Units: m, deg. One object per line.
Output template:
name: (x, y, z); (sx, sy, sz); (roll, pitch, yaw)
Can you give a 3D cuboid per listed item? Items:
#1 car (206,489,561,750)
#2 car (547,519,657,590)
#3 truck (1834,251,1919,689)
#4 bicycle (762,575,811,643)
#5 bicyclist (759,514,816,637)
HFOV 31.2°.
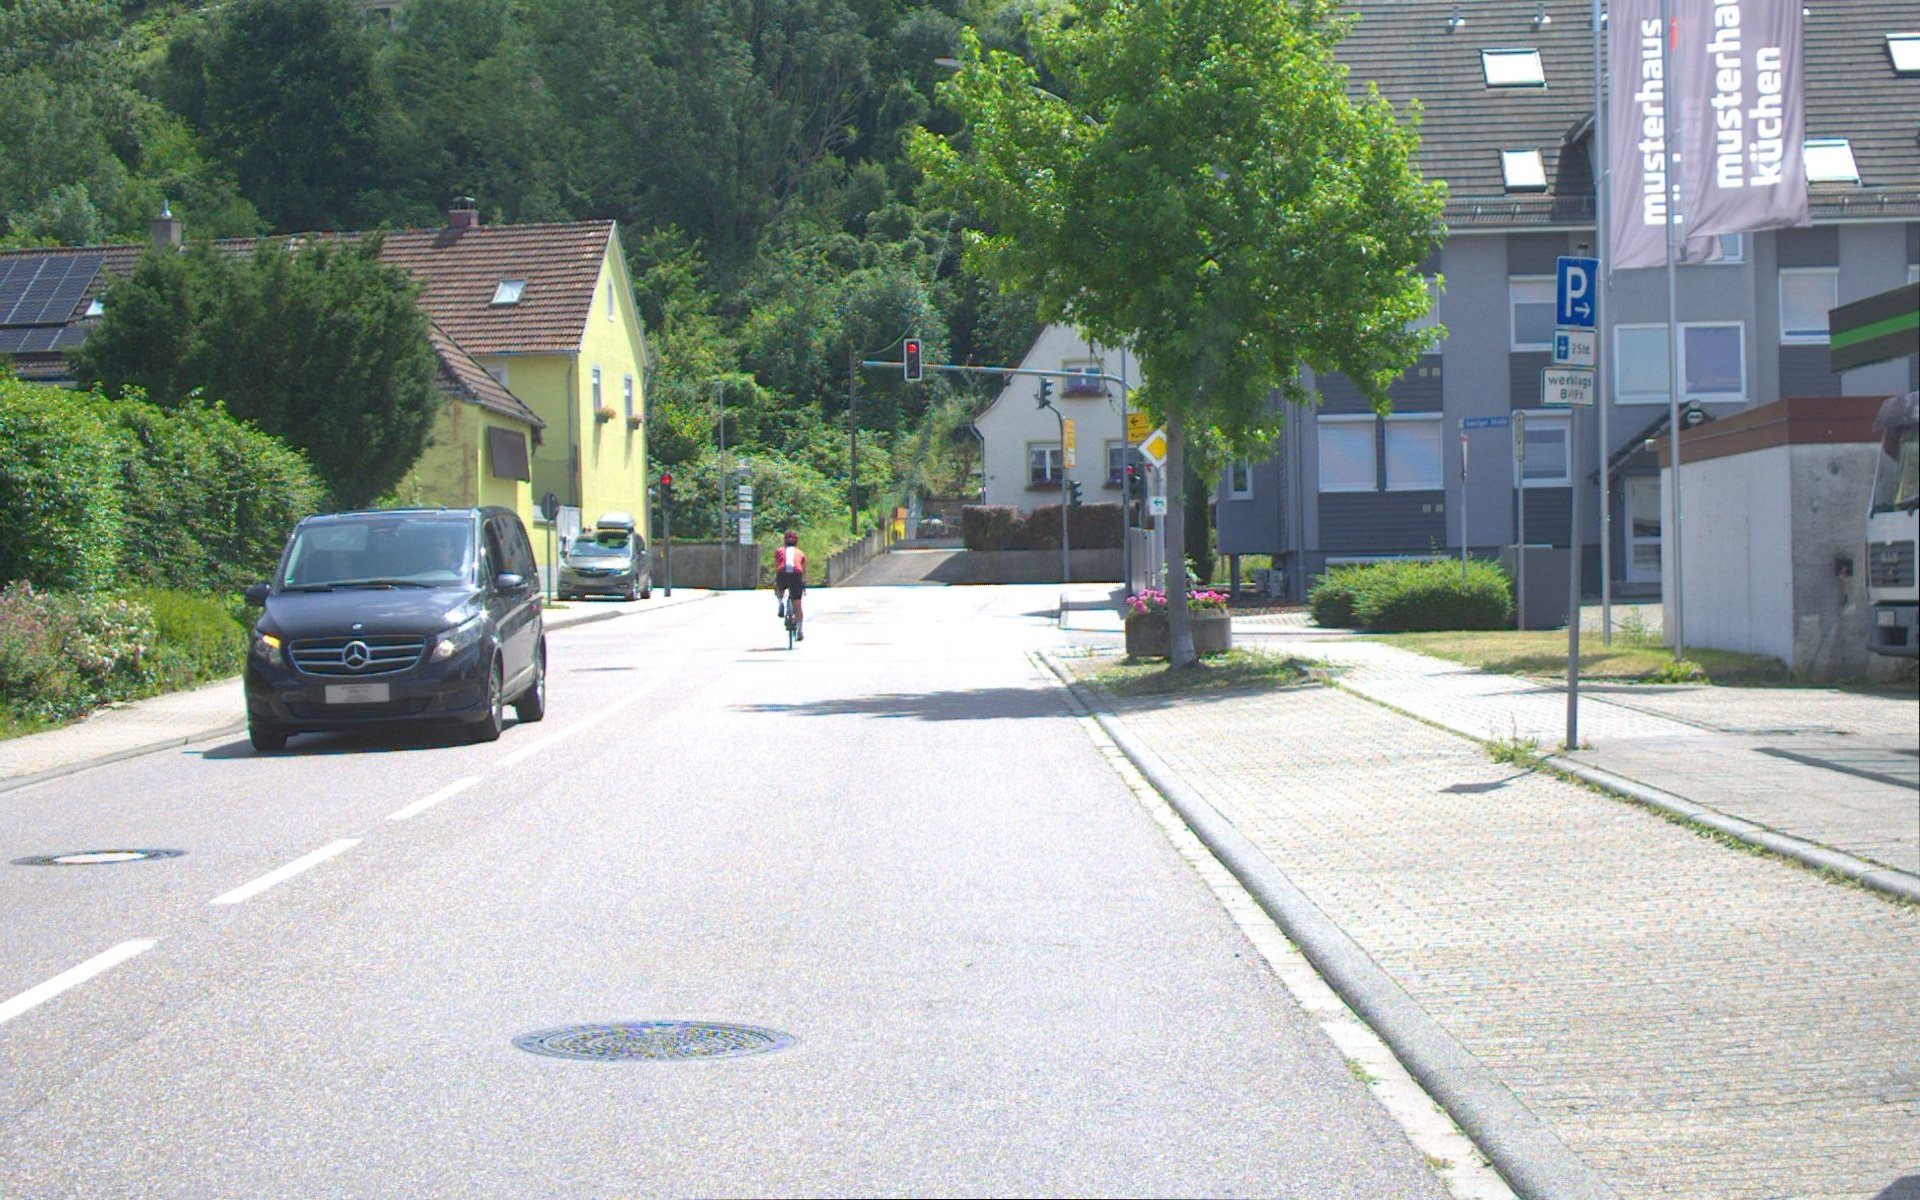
car: (-4.550, 0.101, 27.908); (1.993, 1.846, 5.070); (-2, 1, 0)
car: (-8.503, -1.107, 82.041); (1.993, 1.630, 4.630); (1, 1, 2)
truck: (11.889, -1.076, 29.307); (8.170, 3.560, 2.678); (0, 0, 0)
bicycle: (-2.374, 0.115, 47.112); (0.630, 0.902, 1.657); (0, 1, -2)
bicyclist: (-2.352, -0.342, 47.030); (0.760, 1.659, 0.869); (0, 1, -2)
